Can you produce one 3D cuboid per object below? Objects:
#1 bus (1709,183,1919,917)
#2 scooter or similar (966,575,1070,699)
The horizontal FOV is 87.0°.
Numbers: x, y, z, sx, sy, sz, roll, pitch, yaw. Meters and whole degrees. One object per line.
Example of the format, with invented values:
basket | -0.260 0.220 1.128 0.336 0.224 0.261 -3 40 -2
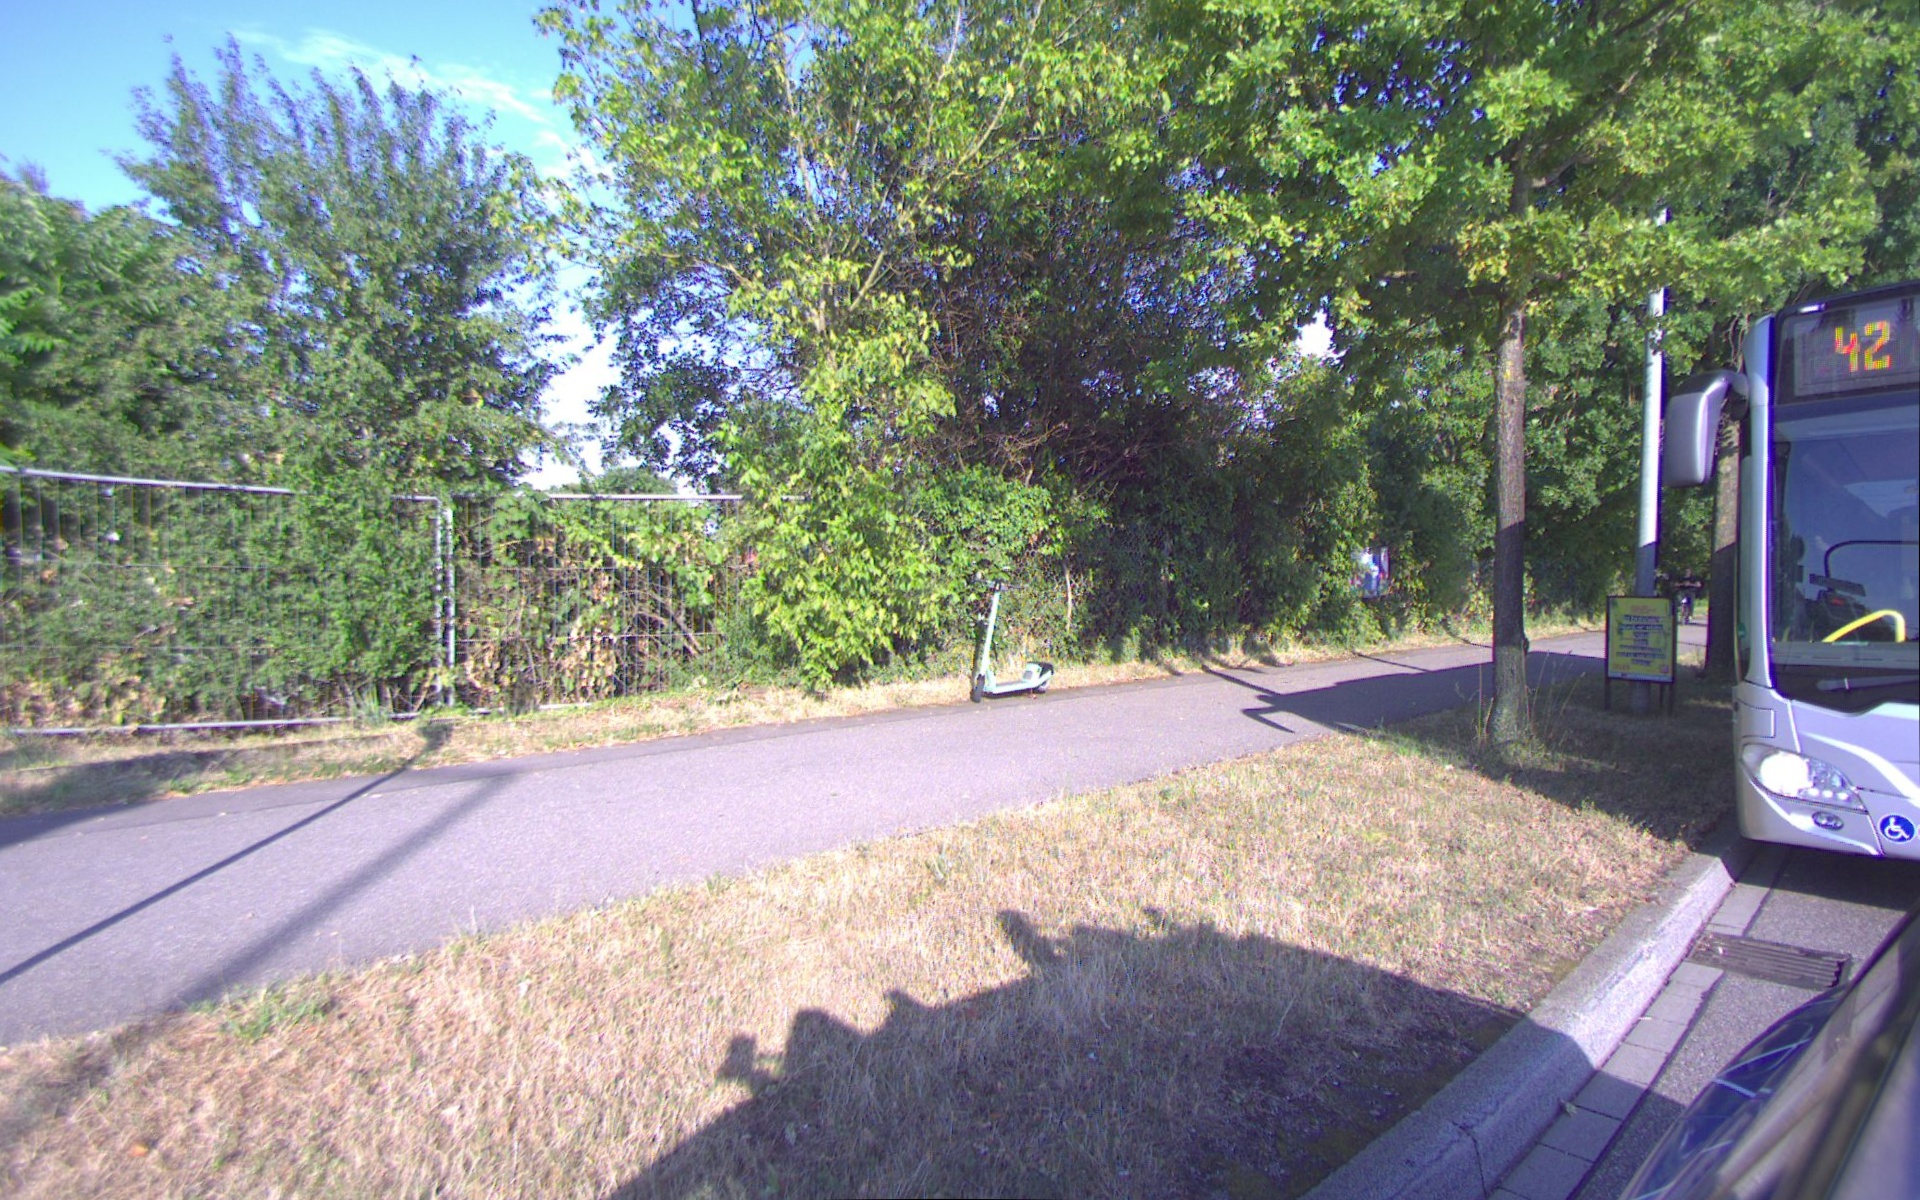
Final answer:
bus | 8.524 -0.231 7.890 11.528 3.081 2.590 0 1 -45
scooter or similar | 0.574 0.340 9.794 1.076 1.139 0.249 0 4 -41
